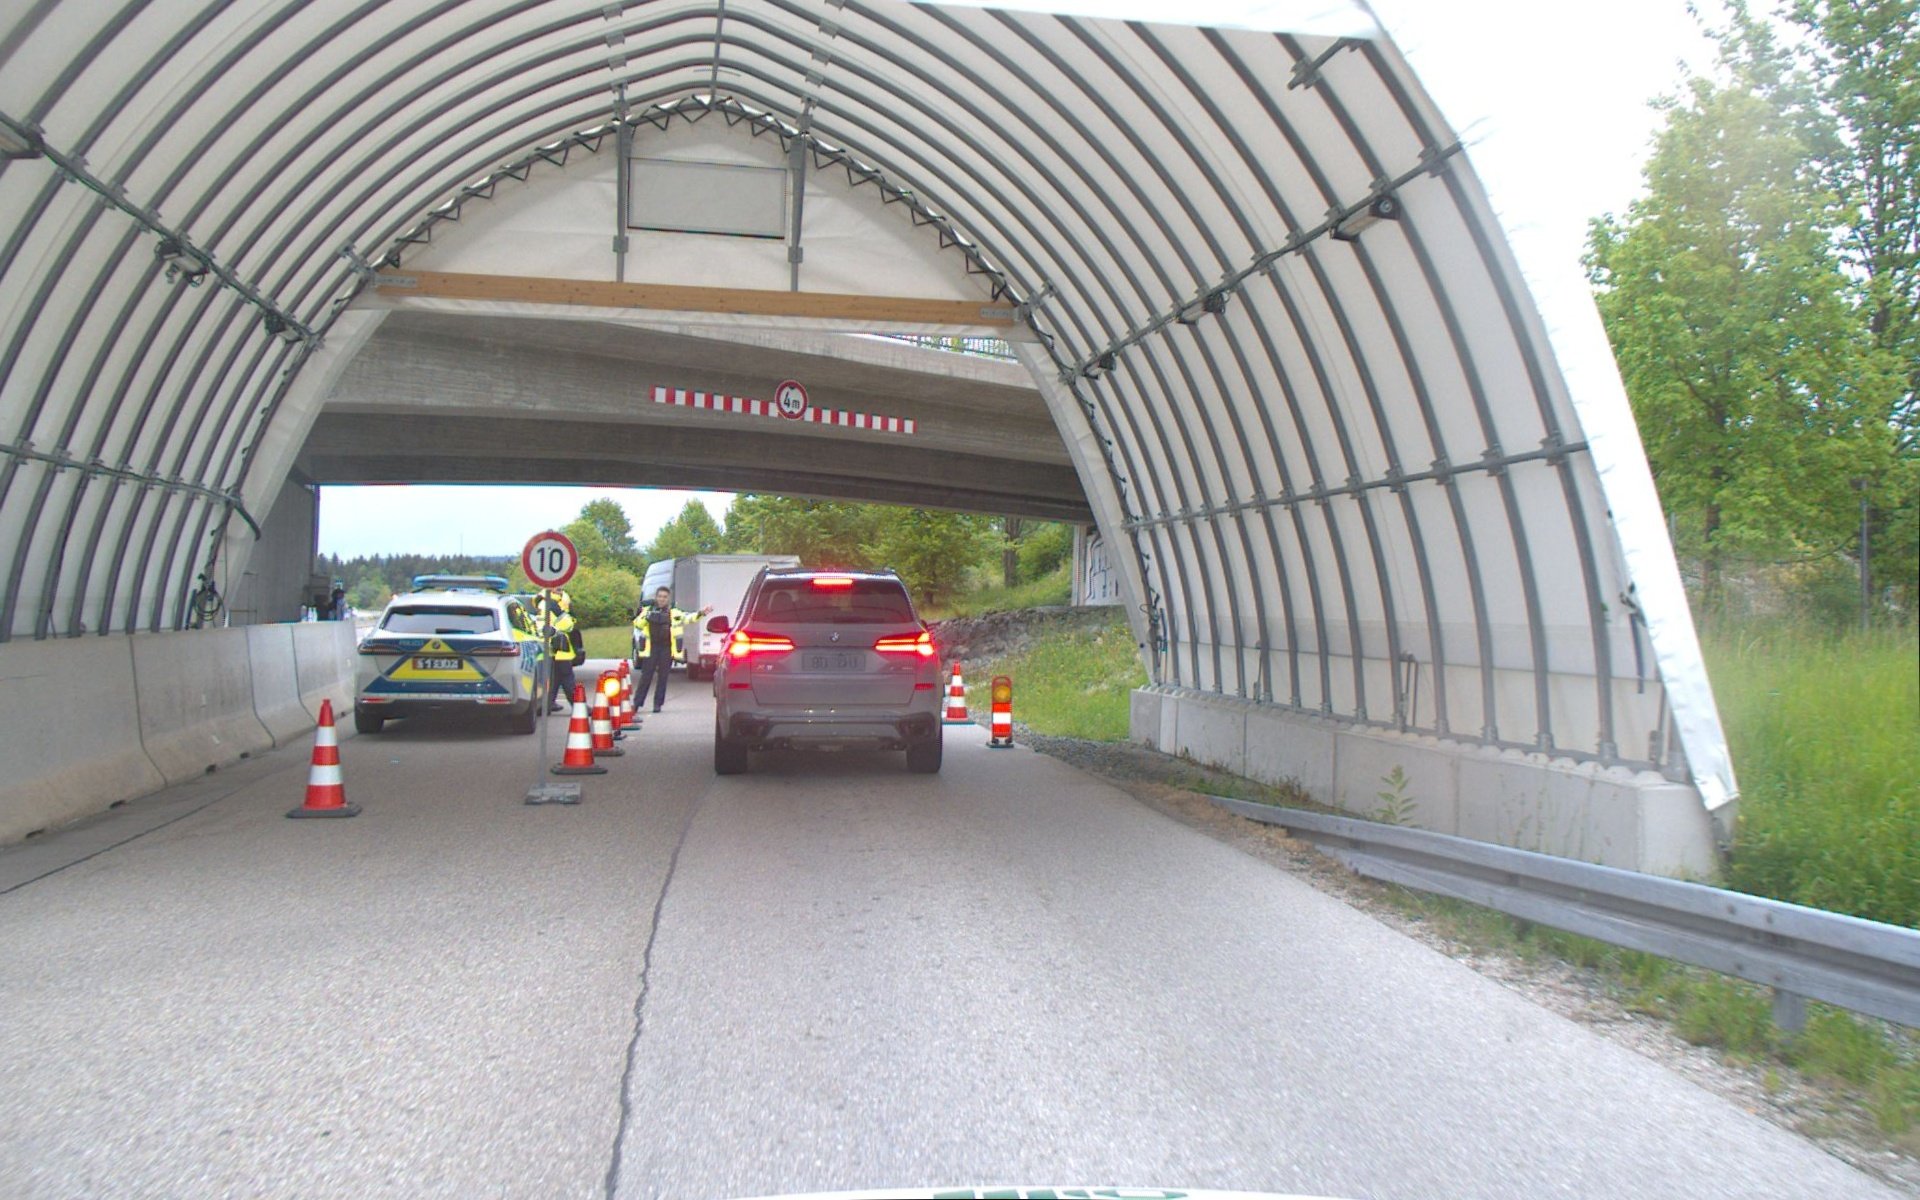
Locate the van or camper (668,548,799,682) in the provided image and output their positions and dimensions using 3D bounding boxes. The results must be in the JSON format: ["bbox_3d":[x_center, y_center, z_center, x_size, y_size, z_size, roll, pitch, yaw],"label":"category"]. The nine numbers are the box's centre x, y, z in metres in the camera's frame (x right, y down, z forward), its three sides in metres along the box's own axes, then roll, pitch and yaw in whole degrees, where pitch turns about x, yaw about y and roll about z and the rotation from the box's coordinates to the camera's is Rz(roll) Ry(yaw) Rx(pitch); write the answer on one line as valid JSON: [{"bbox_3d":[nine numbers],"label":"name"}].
[{"bbox_3d":[-4.962,0.298,35.389,2.191,2.597,6.588,0,0,-13],"label":"van or camper"}]

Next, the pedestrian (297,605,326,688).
[{"bbox_3d":[-12.391,0.878,31.605,0.494,1.573,0.460,0,0,-18],"label":"pedestrian"}]

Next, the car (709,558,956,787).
[{"bbox_3d":[-1.252,0.576,15.163,1.956,1.796,3.993,-1,0,-7],"label":"car"}]

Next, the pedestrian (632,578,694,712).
[{"bbox_3d":[-3.967,0.589,22.073,0.766,1.752,0.754,0,0,-13],"label":"pedestrian"}]

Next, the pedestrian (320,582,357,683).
[{"bbox_3d":[-12.746,0.662,33.930,0.614,2.049,0.653,0,0,-14],"label":"pedestrian"}]

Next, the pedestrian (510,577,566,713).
[{"bbox_3d":[-5.624,0.589,22.039,0.597,1.784,0.665,-1,0,-4],"label":"pedestrian"}]

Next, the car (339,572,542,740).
[{"bbox_3d":[-5.783,0.569,18.828,1.845,1.675,3.987,-1,0,-13],"label":"car"}]

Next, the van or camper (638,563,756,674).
[{"bbox_3d":[-6.634,0.427,41.207,2.071,2.563,5.522,0,0,-18],"label":"van or camper"}]

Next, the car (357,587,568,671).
[{"bbox_3d":[-12.414,0.725,41.388,4.703,2.049,1.842,0,0,9],"label":"car"}]

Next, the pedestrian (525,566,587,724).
[{"bbox_3d":[-5.120,0.557,20.999,0.736,1.952,0.760,0,0,-13],"label":"pedestrian"}]
